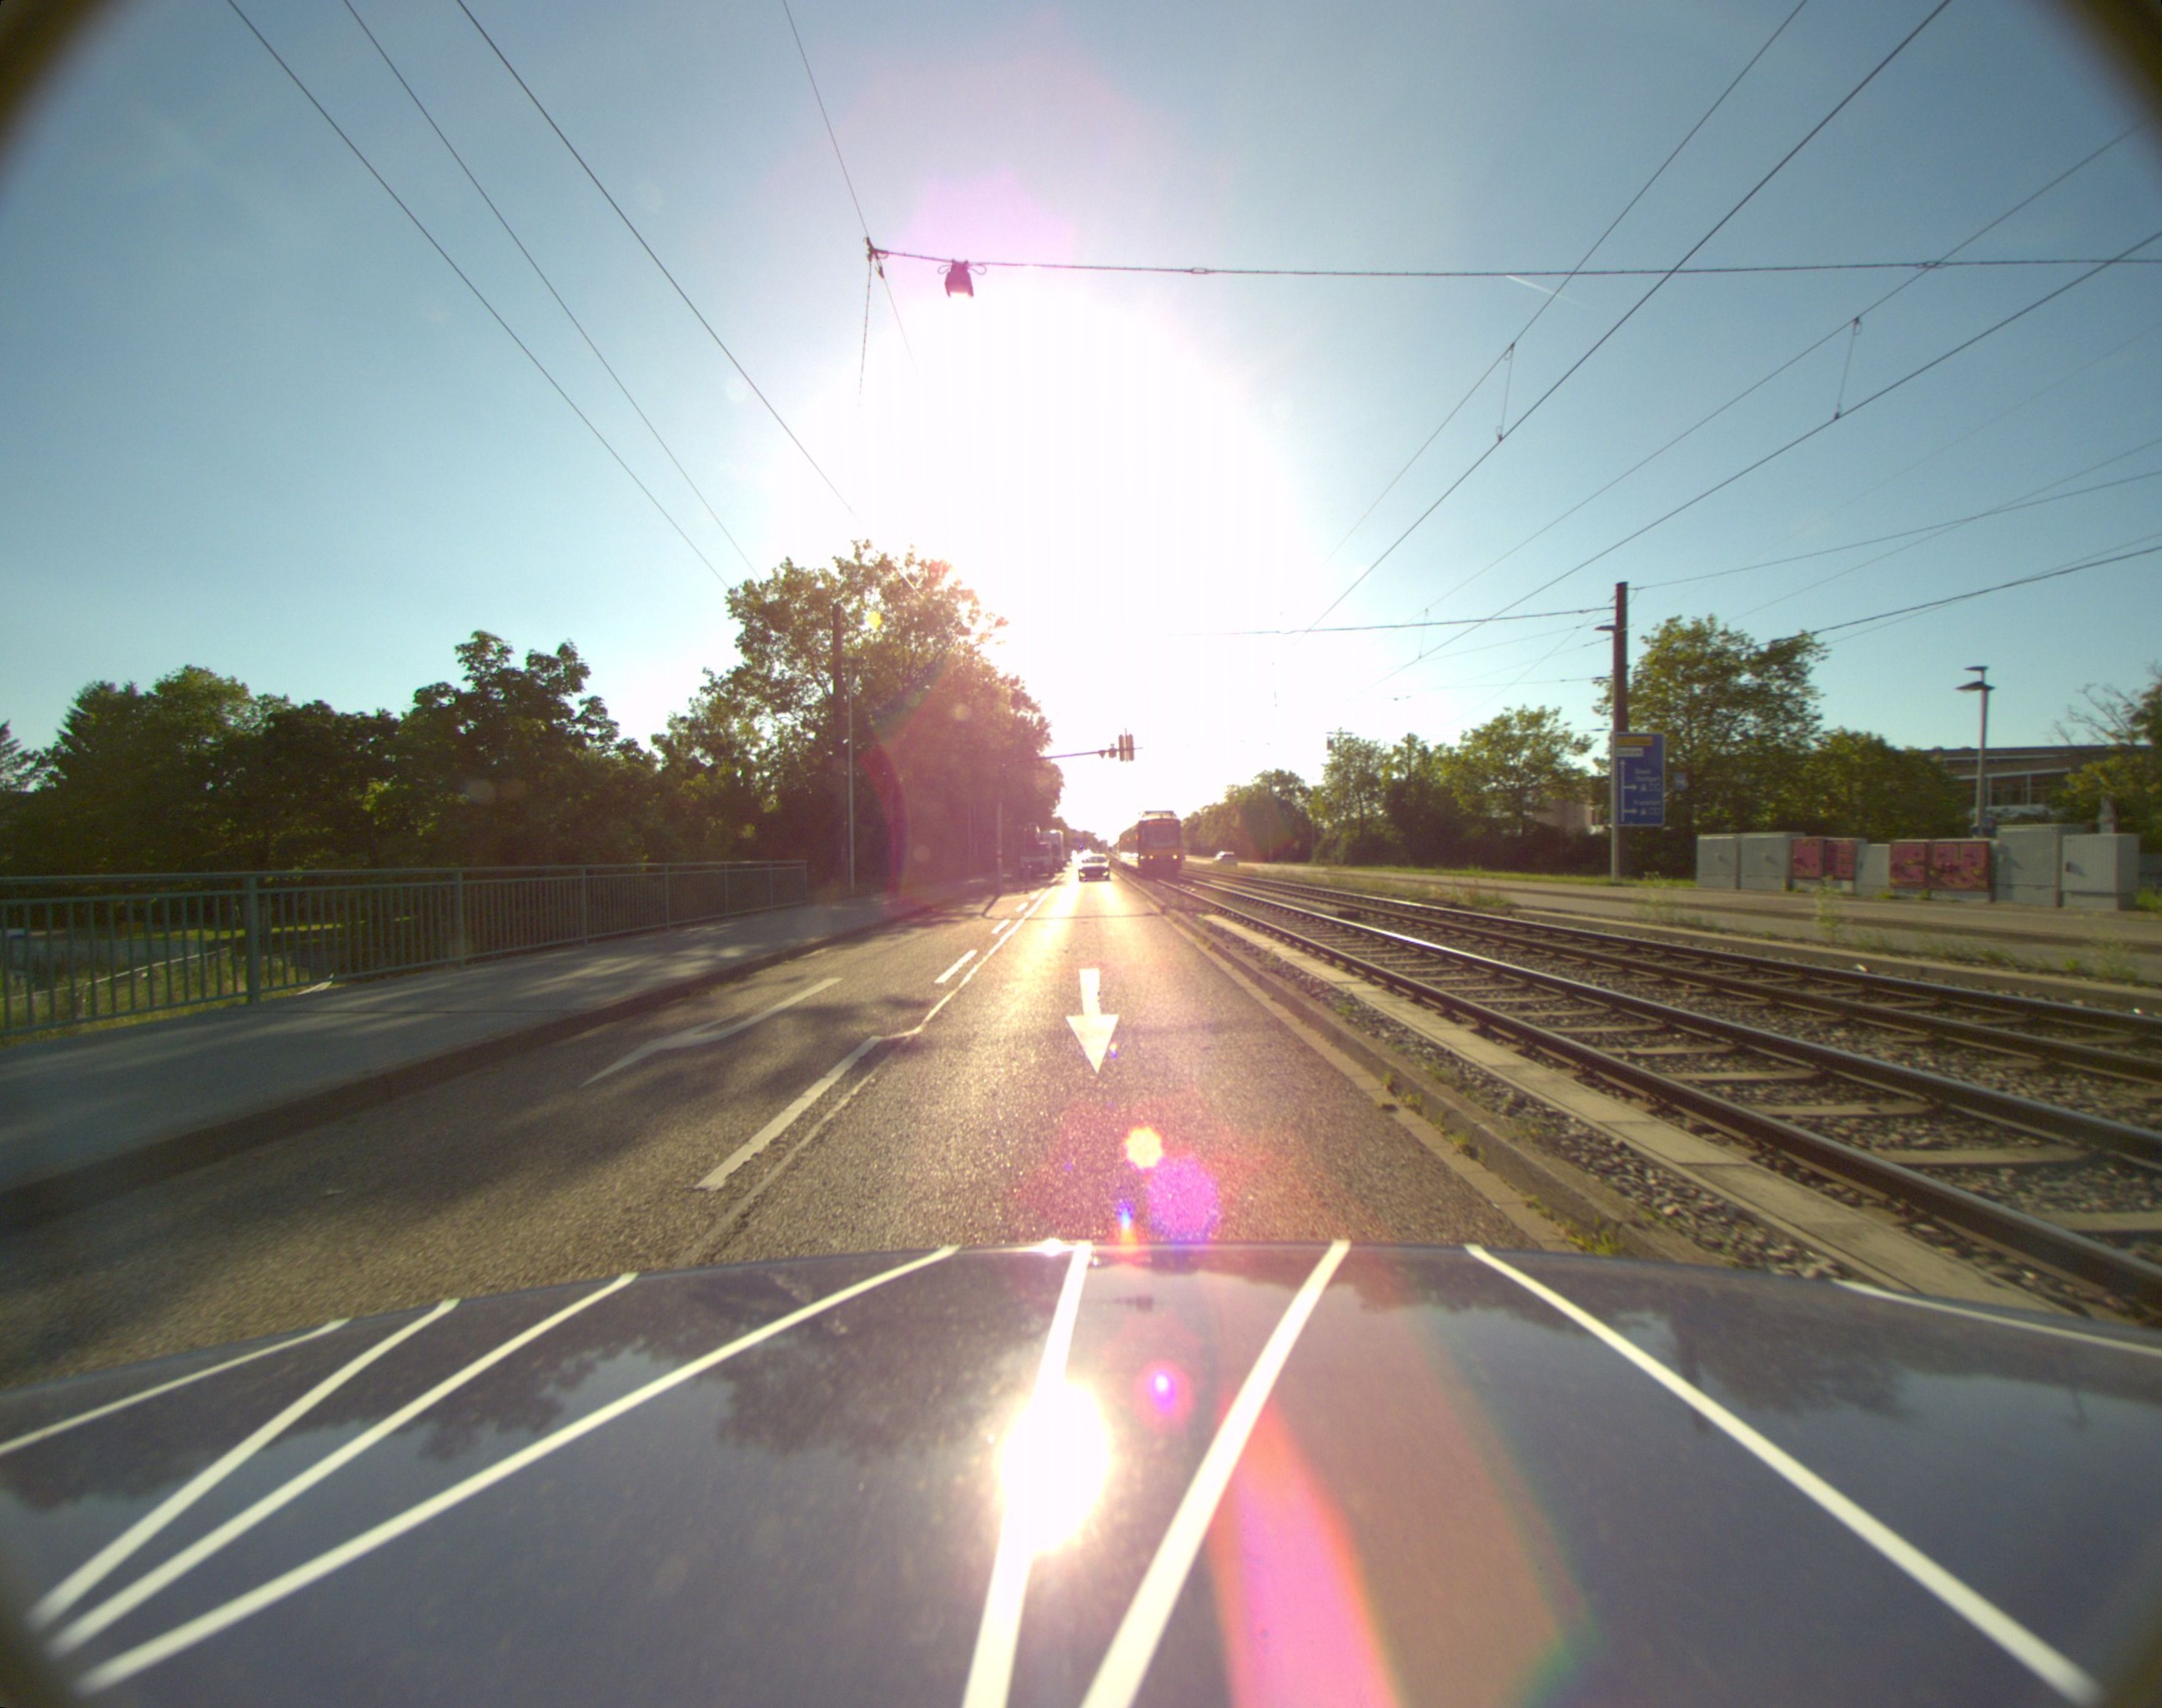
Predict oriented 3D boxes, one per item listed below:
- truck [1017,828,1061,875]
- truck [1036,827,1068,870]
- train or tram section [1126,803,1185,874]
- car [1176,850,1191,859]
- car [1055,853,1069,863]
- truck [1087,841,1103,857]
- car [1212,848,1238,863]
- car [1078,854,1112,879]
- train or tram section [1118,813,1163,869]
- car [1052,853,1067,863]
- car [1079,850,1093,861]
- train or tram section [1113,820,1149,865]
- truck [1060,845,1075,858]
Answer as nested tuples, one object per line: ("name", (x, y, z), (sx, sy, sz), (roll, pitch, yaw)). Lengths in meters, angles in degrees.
("truck", (-2.936, -0.174, 55.767), (2.610, 3.186, 7.870), (-1, 0, 1))
("truck", (-2.647, -0.530, 72.378), (2.559, 3.826, 7.870), (-1, 0, 1))
("train or tram section", (4.467, -0.893, 47.800), (2.569, 3.878, 11.671), (-1, 0, 0))
("car", (16.010, 0.072, 118.614), (1.801, 1.345, 4.000), (-2, 1, 1))
("car", (-2.764, 0.560, 110.226), (1.801, 1.345, 4.000), (0, 0, 1))
("truck", (3.071, -1.144, 170.359), (3.313, 3.283, 15.322), (-1, 0, 1))
("car", (13.929, 0.147, 73.703), (1.801, 1.345, 4.000), (-2, 1, 1))
("car", (0.774, 0.668, 42.409), (1.801, 1.345, 4.000), (0, 0, 1))
("train or tram section", (4.507, -0.949, 59.465), (2.569, 3.878, 11.671), (-1, 0, 0))
("car", (-2.874, 0.523, 104.007), (1.801, 1.345, 4.000), (0, 0, 1))
("car", (0.659, 0.169, 97.308), (1.801, 1.345, 4.000), (0, 0, 1))
("train or tram section", (4.541, -1.013, 71.143), (2.569, 3.878, 11.671), (-1, 0, 0))
("truck", (-2.083, -0.399, 121.187), (2.097, 1.961, 6.027), (0, 0, 1))
